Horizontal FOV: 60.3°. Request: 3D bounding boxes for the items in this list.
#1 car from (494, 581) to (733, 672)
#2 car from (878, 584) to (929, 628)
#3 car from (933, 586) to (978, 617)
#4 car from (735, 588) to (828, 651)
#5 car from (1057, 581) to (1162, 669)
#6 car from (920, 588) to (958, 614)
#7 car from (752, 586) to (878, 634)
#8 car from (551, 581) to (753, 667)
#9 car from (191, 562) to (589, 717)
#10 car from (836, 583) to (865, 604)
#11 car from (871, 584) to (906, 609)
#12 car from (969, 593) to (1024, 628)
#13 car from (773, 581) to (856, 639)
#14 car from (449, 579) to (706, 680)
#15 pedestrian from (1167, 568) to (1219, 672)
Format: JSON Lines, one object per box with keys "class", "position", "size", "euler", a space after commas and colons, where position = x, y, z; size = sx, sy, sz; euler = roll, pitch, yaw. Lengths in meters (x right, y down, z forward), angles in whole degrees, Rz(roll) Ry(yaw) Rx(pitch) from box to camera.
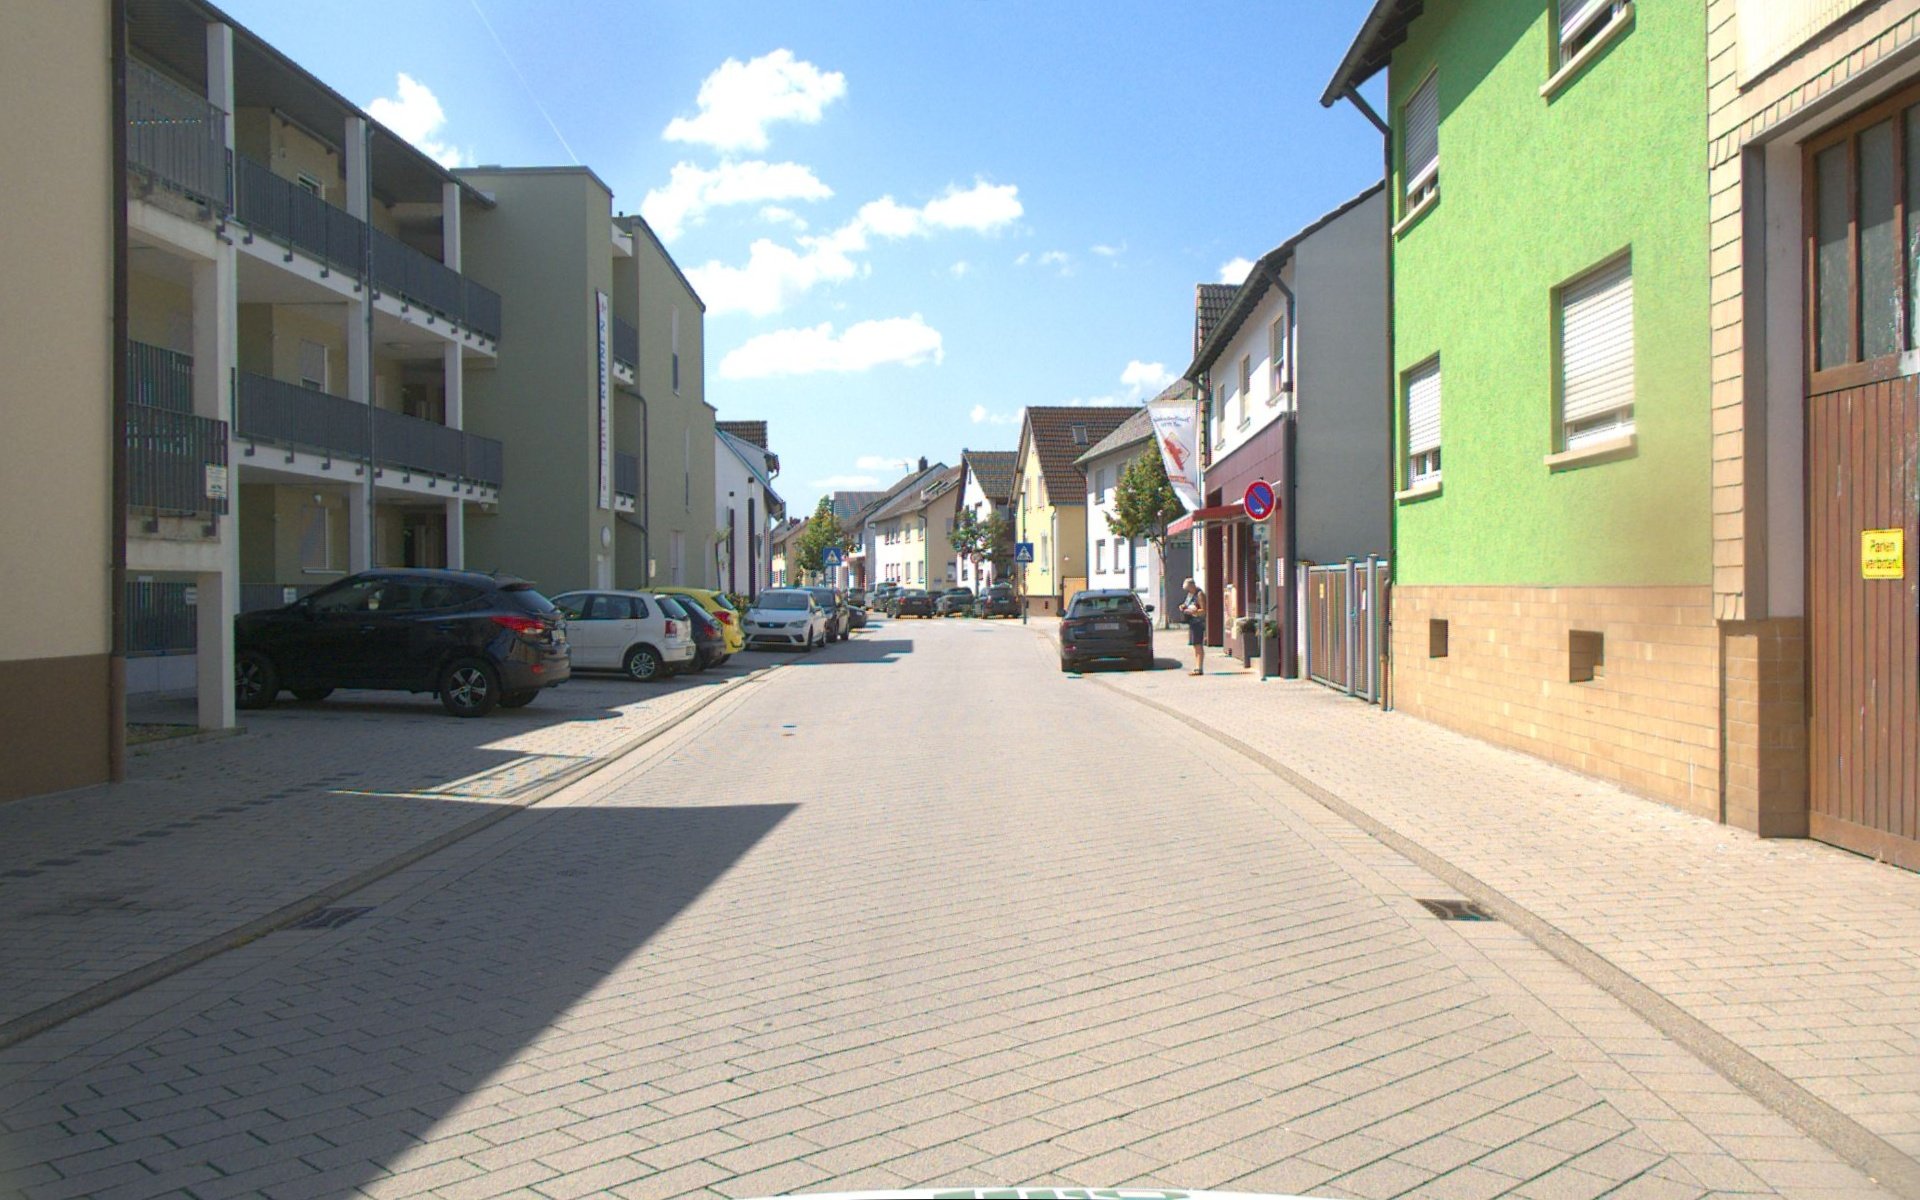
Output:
{"class": "car", "position": [-6.232, 0.456, 30.038], "size": [3.904, 1.467, 1.692], "euler": [2, 1, 2]}
{"class": "car", "position": [-2.837, 0.279, 82.228], "size": [1.957, 2.093, 4.364], "euler": [-1, 1, -10]}
{"class": "car", "position": [-0.242, 0.048, 88.339], "size": [1.813, 1.590, 3.685], "euler": [-1, 1, -9]}
{"class": "car", "position": [-4.389, 0.453, 41.204], "size": [1.721, 1.435, 3.879], "euler": [1, 1, 2]}
{"class": "car", "position": [2.888, 0.432, 31.996], "size": [1.819, 1.484, 4.589], "euler": [-3, 1, 5]}
{"class": "car", "position": [-1.247, 0.052, 96.018], "size": [1.679, 1.411, 3.698], "euler": [-1, 1, -9]}
{"class": "car", "position": [-4.932, 0.327, 56.604], "size": [4.020, 1.463, 1.766], "euler": [-2, 1, 2]}
{"class": "car", "position": [-6.069, 0.457, 32.816], "size": [3.615, 1.552, 1.673], "euler": [2, 1, 3]}
{"class": "car", "position": [-6.768, 0.445, 19.940], "size": [4.131, 1.687, 1.785], "euler": [1, 1, 1]}
{"class": "car", "position": [-8.194, -0.488, 123.757], "size": [1.722, 1.519, 3.991], "euler": [-1, 1, -9]}
{"class": "car", "position": [-4.743, -0.244, 109.405], "size": [1.843, 1.619, 3.991], "euler": [-1, 1, -9]}
{"class": "car", "position": [1.724, 0.491, 78.839], "size": [1.796, 1.497, 4.267], "euler": [-3, 1, -9]}
{"class": "car", "position": [-4.087, 0.245, 46.957], "size": [1.775, 1.516, 4.279], "euler": [1, 1, 2]}
{"class": "car", "position": [-6.374, 0.465, 27.833], "size": [3.819, 1.528, 1.752], "euler": [2, 1, 4]}
{"class": "pedestrian", "position": [3.887, 0.333, 27.647], "size": [0.714, 1.668, 0.749], "euler": [-4, 0, 5]}
